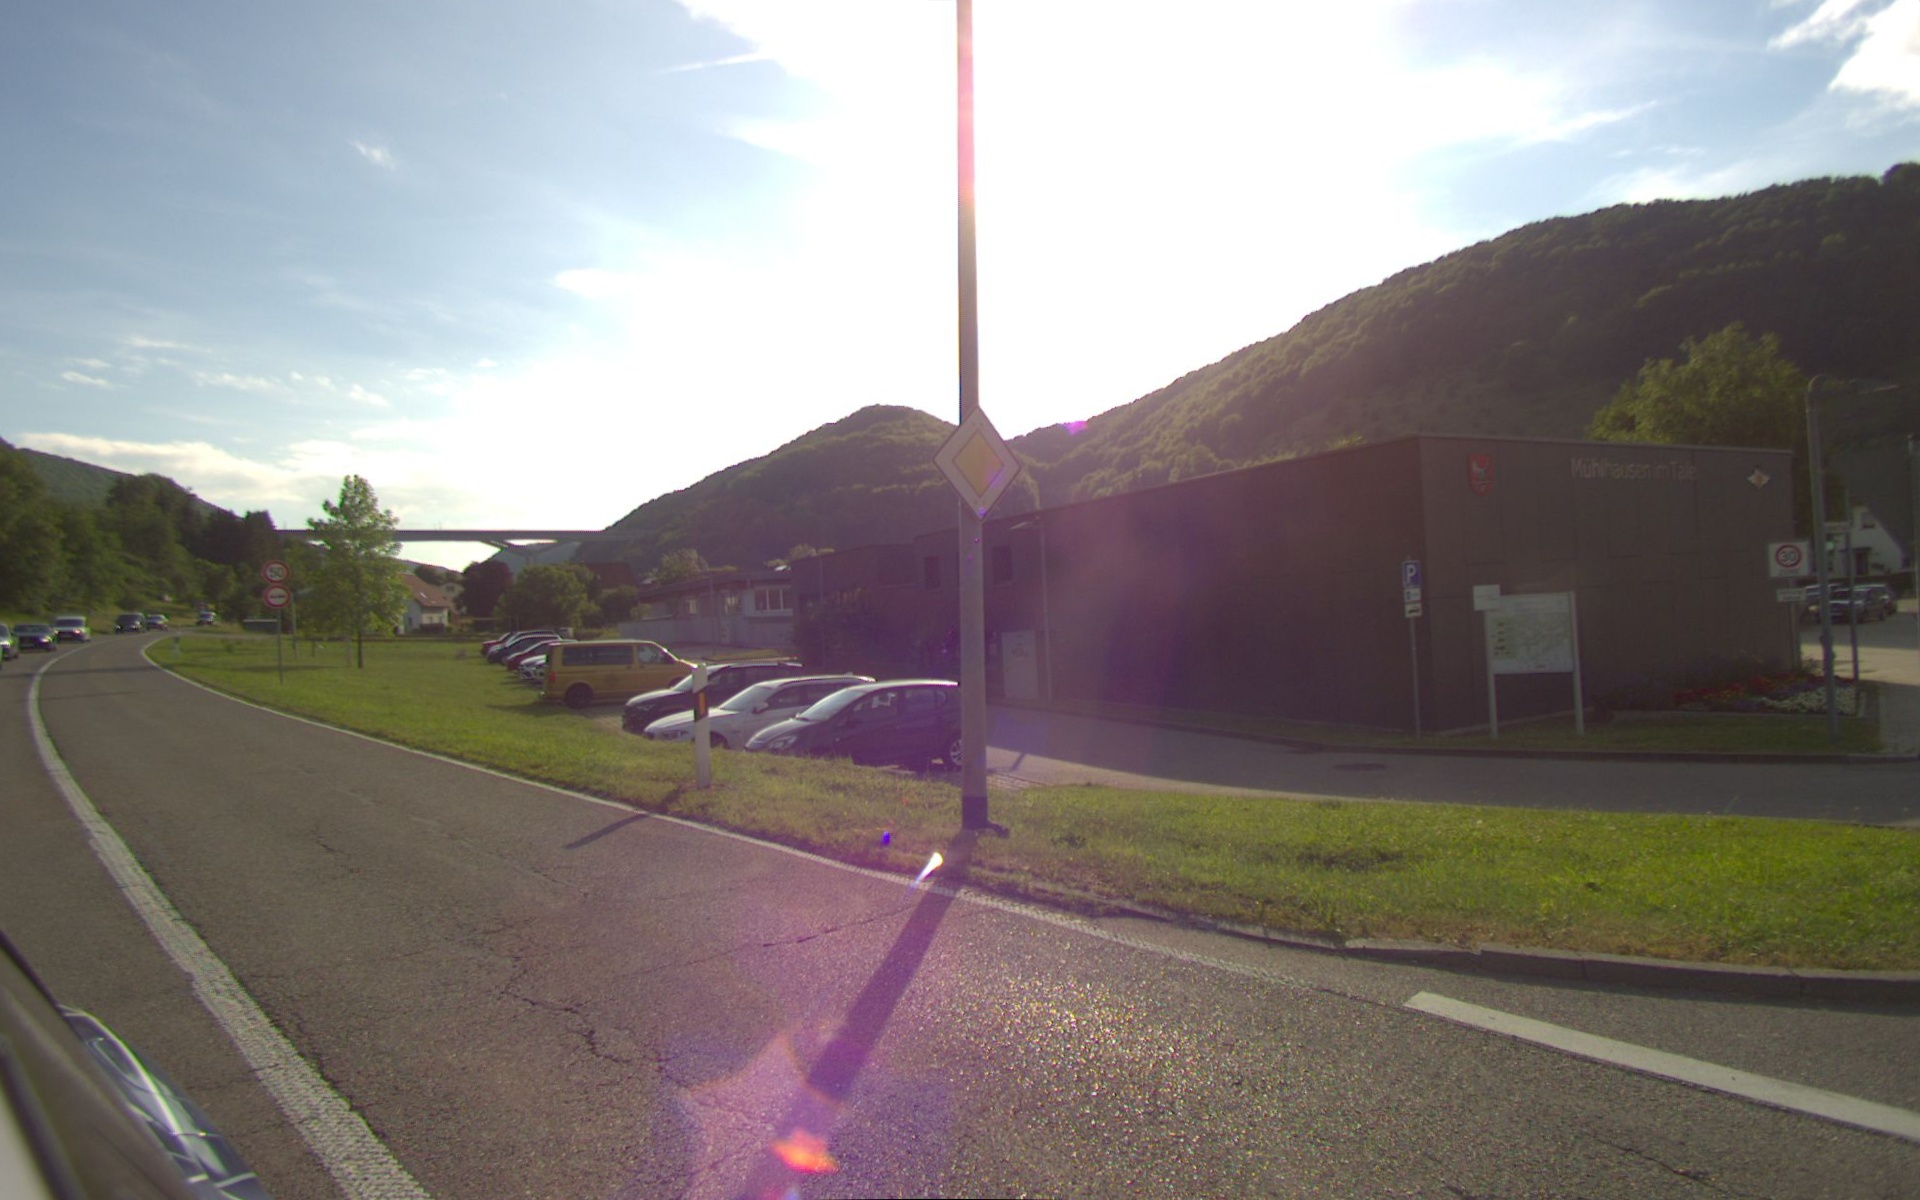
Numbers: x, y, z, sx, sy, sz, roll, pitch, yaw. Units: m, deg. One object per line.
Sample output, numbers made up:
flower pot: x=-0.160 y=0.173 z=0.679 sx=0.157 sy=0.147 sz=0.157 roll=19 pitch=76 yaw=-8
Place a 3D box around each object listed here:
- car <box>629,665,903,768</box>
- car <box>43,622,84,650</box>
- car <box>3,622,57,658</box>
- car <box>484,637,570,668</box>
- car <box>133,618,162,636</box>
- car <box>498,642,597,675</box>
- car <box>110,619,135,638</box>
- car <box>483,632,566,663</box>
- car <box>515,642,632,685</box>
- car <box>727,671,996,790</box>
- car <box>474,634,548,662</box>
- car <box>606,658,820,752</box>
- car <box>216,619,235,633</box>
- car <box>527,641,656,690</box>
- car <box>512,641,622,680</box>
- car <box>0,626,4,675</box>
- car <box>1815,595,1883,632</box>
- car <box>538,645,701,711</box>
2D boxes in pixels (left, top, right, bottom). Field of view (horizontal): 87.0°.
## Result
car: x=-3.523 y=2.046 z=18.619 sx=4.575 sy=1.508 sz=1.918 roll=0 pitch=-2 yaw=-31
car: x=-59.793 y=2.407 z=67.568 sx=1.771 sy=1.749 sz=4.292 roll=-1 pitch=-2 yaw=-38
car: x=-46.827 y=2.010 z=51.024 sx=1.884 sy=1.698 sz=4.006 roll=0 pitch=-2 yaw=-41
car: x=-24.951 y=3.008 z=58.279 sx=4.370 sy=1.595 sz=2.006 roll=-1 pitch=-1 yaw=-28
car: x=-86.827 y=2.907 z=108.189 sx=1.966 sy=1.730 sz=4.011 roll=-1 pitch=-2 yaw=-33
car: x=-20.111 y=2.807 z=49.355 sx=4.370 sy=1.463 sz=2.006 roll=0 pitch=-2 yaw=-26
car: x=-77.746 y=2.685 z=93.991 sx=1.653 sy=1.659 sz=3.353 roll=-1 pitch=-2 yaw=-37
car: x=-26.945 y=2.904 z=62.675 sx=4.594 sy=1.776 sz=2.006 roll=0 pitch=-2 yaw=-28
car: x=-16.030 y=2.605 z=41.986 sx=4.370 sy=1.599 sz=2.006 roll=0 pitch=-2 yaw=-27
car: x=-1.591 y=2.022 z=16.449 sx=3.931 sy=1.546 sz=1.839 roll=0 pitch=-2 yaw=-28
car: x=-29.793 y=3.164 z=67.186 sx=4.370 sy=1.733 sz=2.006 roll=0 pitch=-2 yaw=-28
car: x=-5.500 y=2.262 z=22.641 sx=4.224 sy=1.650 sz=1.918 roll=-2 pitch=-1 yaw=-32
car: x=-106.669 y=3.816 z=146.975 sx=1.880 sy=1.918 sz=4.012 roll=-1 pitch=0 yaw=-31
car: x=-14.178 y=2.495 z=39.001 sx=4.476 sy=1.714 sz=2.006 roll=0 pitch=-2 yaw=-27
car: x=-17.480 y=2.667 z=45.044 sx=4.370 sy=1.595 sz=2.006 roll=0 pitch=-2 yaw=-28
car: x=-31.056 y=1.609 z=31.468 sx=4.285 sy=1.484 sz=1.774 roll=-3 pitch=-2 yaw=45
car: x=40.301 y=0.601 z=45.963 sx=1.997 sy=1.525 sz=3.950 roll=-3 pitch=-2 yaw=37
car: x=-10.568 y=2.346 z=31.444 sx=4.582 sy=1.827 sz=2.006 roll=0 pitch=-2 yaw=-26
